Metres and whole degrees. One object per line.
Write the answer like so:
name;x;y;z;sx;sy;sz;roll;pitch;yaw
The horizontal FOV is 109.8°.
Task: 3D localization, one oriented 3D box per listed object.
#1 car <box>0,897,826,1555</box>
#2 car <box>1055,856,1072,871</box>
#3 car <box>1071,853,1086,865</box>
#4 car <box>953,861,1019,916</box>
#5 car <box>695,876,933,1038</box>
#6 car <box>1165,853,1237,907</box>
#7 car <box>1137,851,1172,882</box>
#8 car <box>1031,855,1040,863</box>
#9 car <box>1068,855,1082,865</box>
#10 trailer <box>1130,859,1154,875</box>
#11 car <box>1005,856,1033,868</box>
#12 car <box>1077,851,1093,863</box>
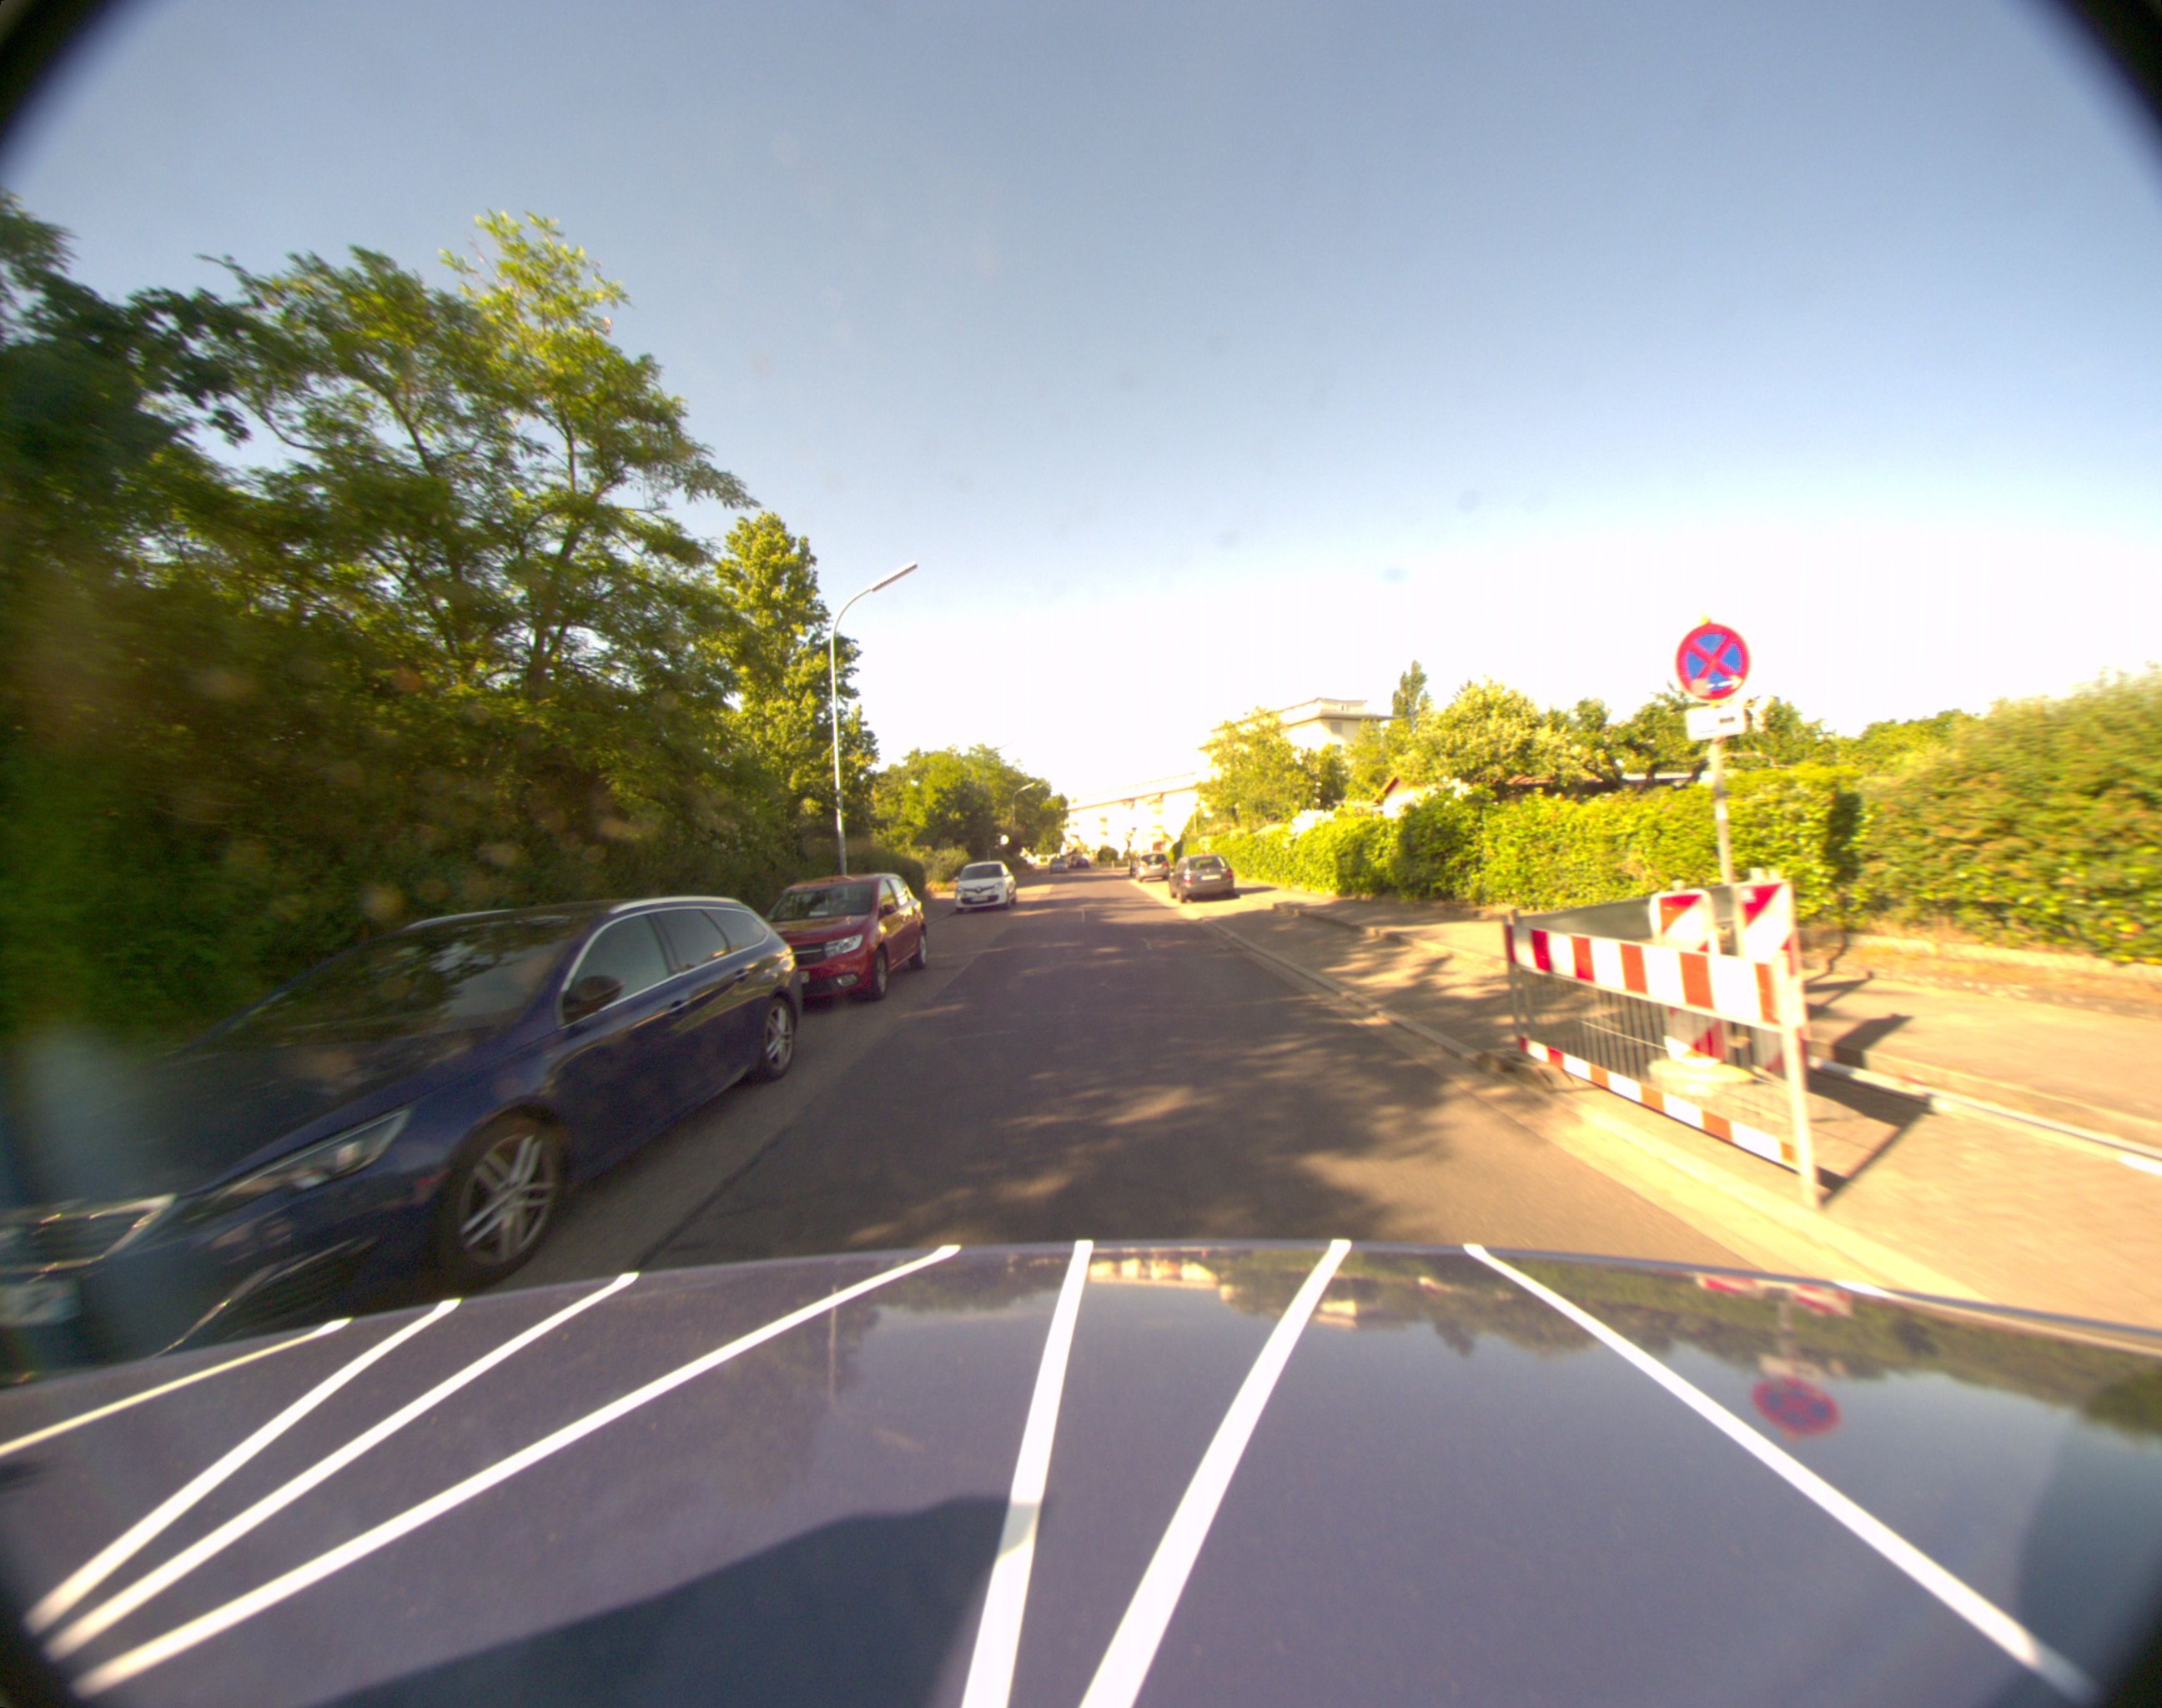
car;-3.124;1.166;4.345;1.659;1.436;4.656;-5;0;0
car;-1.743;0.891;74.199;1.597;1.417;4.170;0;0;-1
car;-0.459;0.790;114.489;1.845;1.770;4.886;-1;0;-5
car;-3.045;1.069;25.055;1.560;1.529;3.555;-5;0;1
car;-3.216;1.148;10.011;1.659;1.477;3.838;-5;0;0
car;3.854;0.780;24.996;1.647;1.547;4.417;-2;0;0
car;4.098;0.656;42.756;1.647;1.590;4.312;-4;0;2
car;-12.663;1.366;211.568;2.008;1.837;4.612;-5;0;-10
car;-1.030;0.938;120.487;1.845;1.473;4.572;0;0;-6
trailer;4.266;0.917;53.069;1.548;0.948;2.647;-4;0;3
car;-9.384;1.277;115.449;4.160;1.685;1.774;-2;0;-3
car;0.485;0.443;101.301;1.732;1.455;4.680;-2;-1;-5
